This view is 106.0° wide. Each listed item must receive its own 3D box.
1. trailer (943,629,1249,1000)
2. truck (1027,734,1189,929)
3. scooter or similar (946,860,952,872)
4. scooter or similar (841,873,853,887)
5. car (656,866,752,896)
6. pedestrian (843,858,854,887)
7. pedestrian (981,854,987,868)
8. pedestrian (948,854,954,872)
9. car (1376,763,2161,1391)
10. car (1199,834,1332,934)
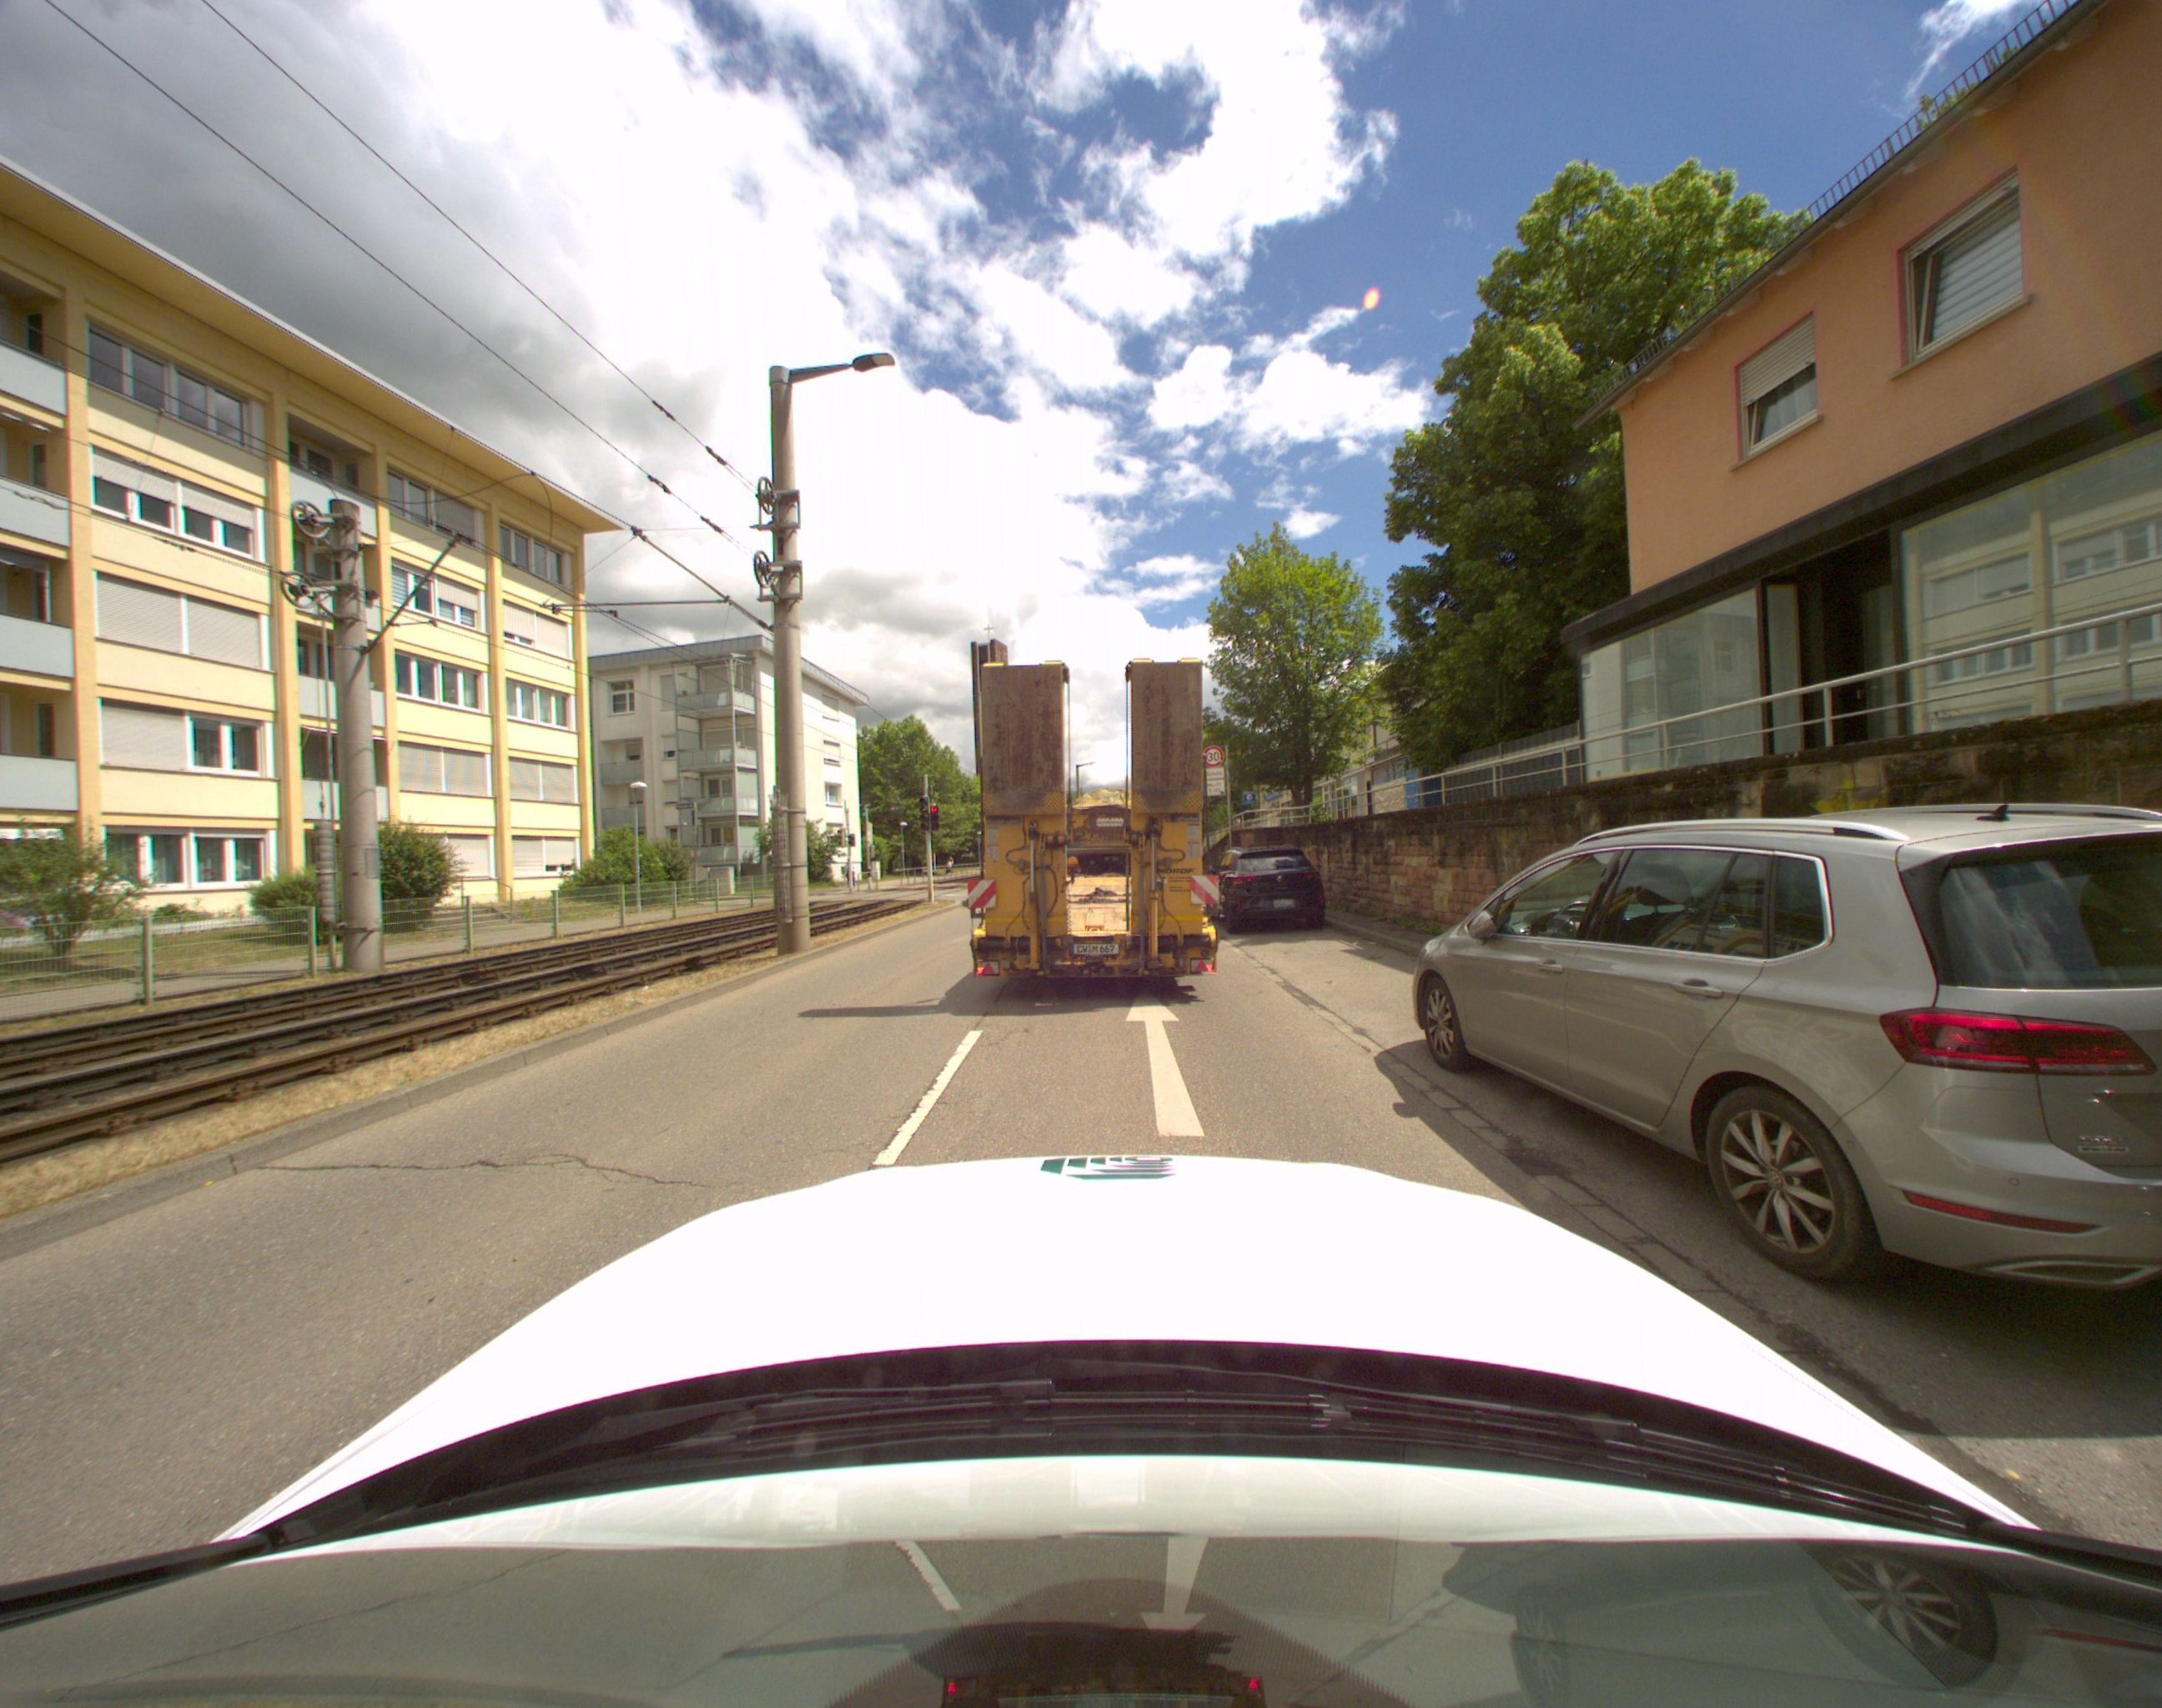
[{"bbox_3d":[0.354,-0.405,12.479,2.933,3.601,8.690,-2,0,3],"label":"trailer"},{"bbox_3d":[0.604,-0.423,17.784,2.931,3.572,4.879,-2,0,2],"label":"truck"},{"bbox_3d":[-11.454,1.041,70.671,0.336,1.057,0.688,-2,0,5],"label":"scooter or similar"},{"bbox_3d":[-12.835,1.420,44.646,0.435,0.747,0.475,-2,0,7],"label":"scooter or similar"},{"bbox_3d":[-19.195,1.364,41.540,3.963,1.345,1.906,-2,0,9],"label":"car"},{"bbox_3d":[-12.887,1.004,45.146,0.435,1.581,0.475,-2,0,6],"label":"pedestrian"},{"bbox_3d":[-10.457,0.770,87.954,0.562,1.513,0.646,0,0,1],"label":"pedestrian"},{"bbox_3d":[-11.372,0.801,71.320,0.346,1.537,0.558,-2,0,5],"label":"pedestrian"},{"bbox_3d":[3.210,0.549,4.266,1.783,1.617,4.249,-3,0,1],"label":"car"},{"bbox_3d":[3.520,0.526,16.254,1.843,1.639,4.003,-3,0,3],"label":"car"}]
